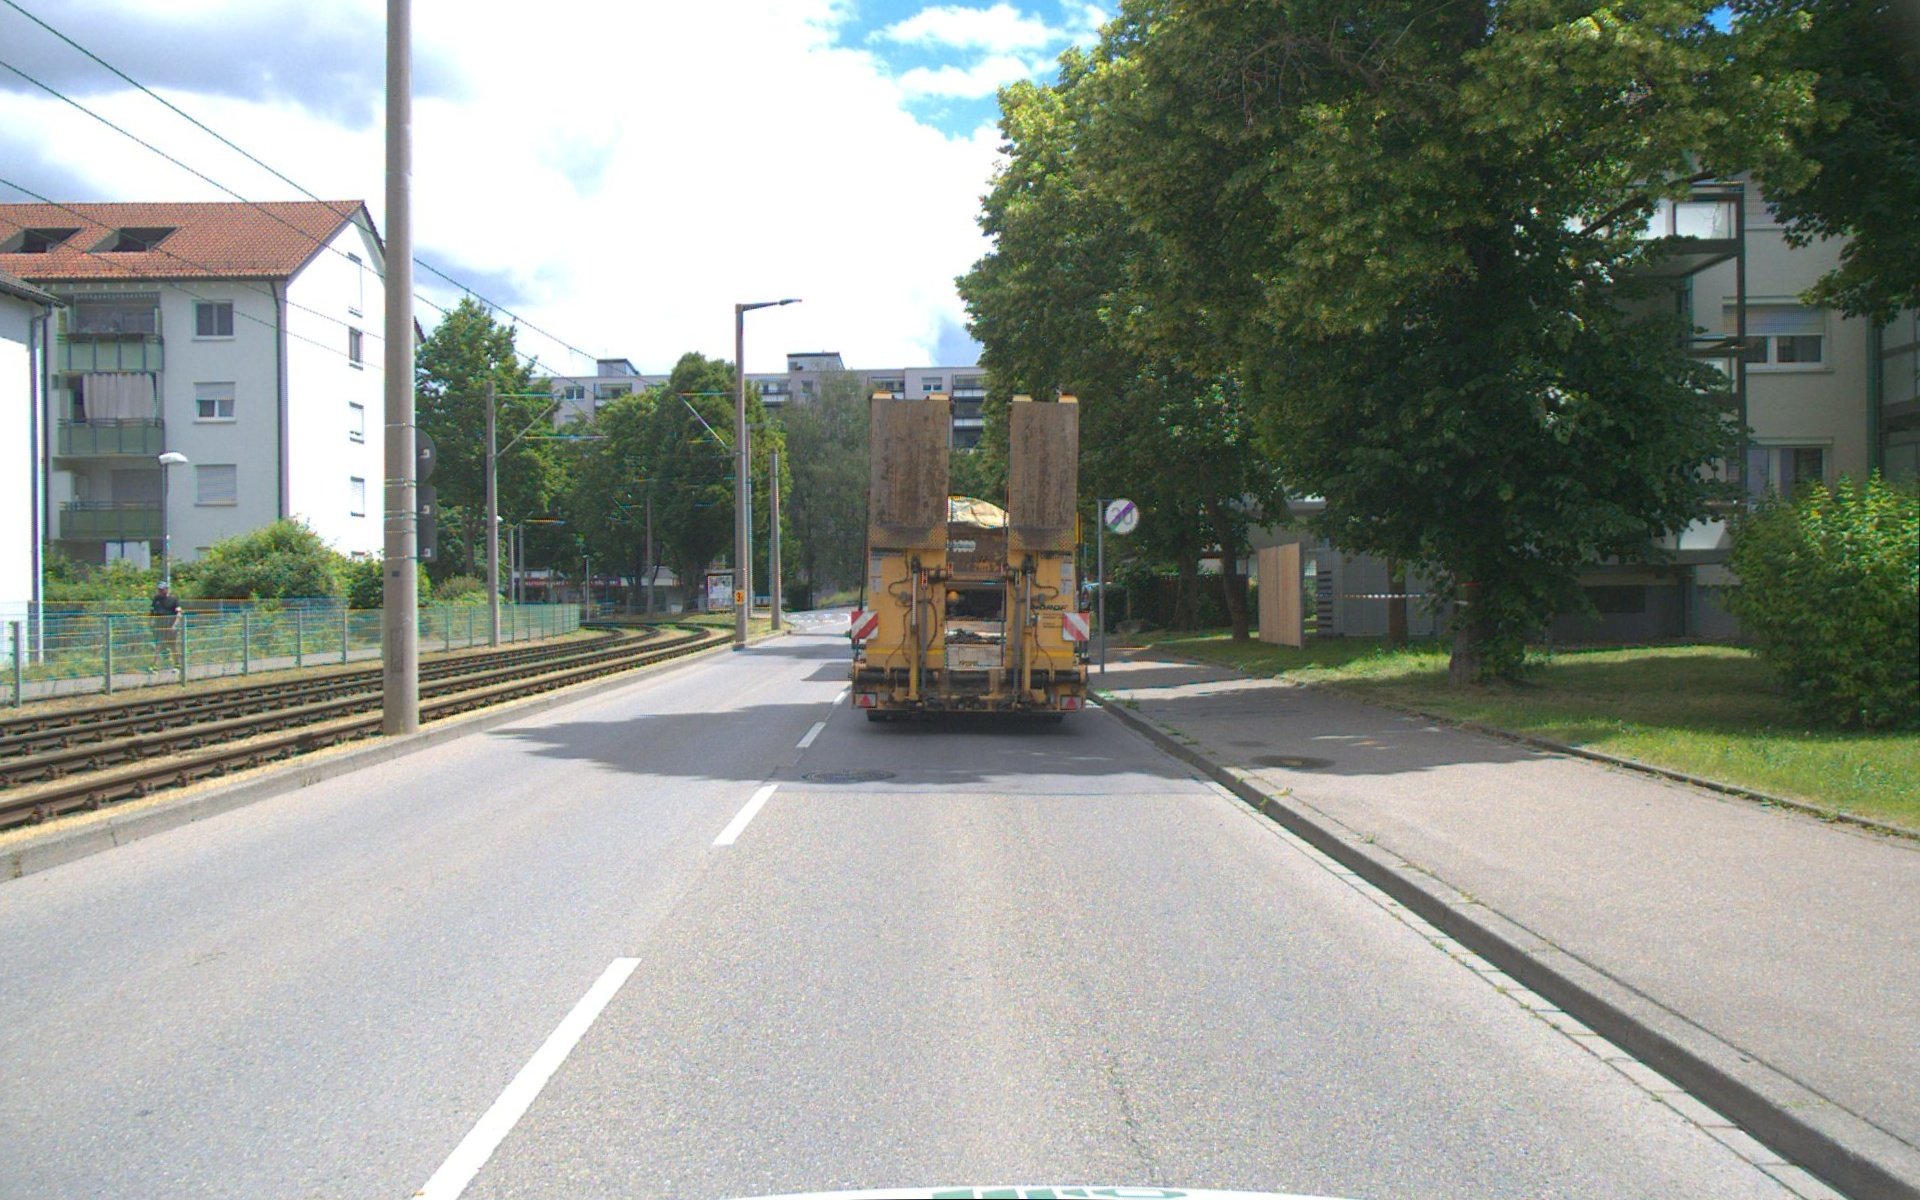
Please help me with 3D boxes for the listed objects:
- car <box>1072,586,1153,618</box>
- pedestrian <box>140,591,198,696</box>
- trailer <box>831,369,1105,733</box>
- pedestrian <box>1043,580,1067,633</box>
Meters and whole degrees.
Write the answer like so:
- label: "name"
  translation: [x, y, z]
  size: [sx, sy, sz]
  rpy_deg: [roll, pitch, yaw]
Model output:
- label: "car"
  translation: [7.979, 0.105, 86.701]
  size: [3.918, 1.588, 1.754]
  rpy_deg: [1, 0, -13]
- label: "pedestrian"
  translation: [-14.500, 0.777, 30.336]
  size: [0.646, 1.881, 0.768]
  rpy_deg: [-2, 0, -1]
- label: "trailer"
  translation: [-0.059, -0.536, 23.251]
  size: [2.770, 3.709, 12.350]
  rpy_deg: [1, 0, -1]
- label: "pedestrian"
  translation: [3.186, 0.216, 55.313]
  size: [0.703, 1.736, 0.766]
  rpy_deg: [-2, 0, -1]
